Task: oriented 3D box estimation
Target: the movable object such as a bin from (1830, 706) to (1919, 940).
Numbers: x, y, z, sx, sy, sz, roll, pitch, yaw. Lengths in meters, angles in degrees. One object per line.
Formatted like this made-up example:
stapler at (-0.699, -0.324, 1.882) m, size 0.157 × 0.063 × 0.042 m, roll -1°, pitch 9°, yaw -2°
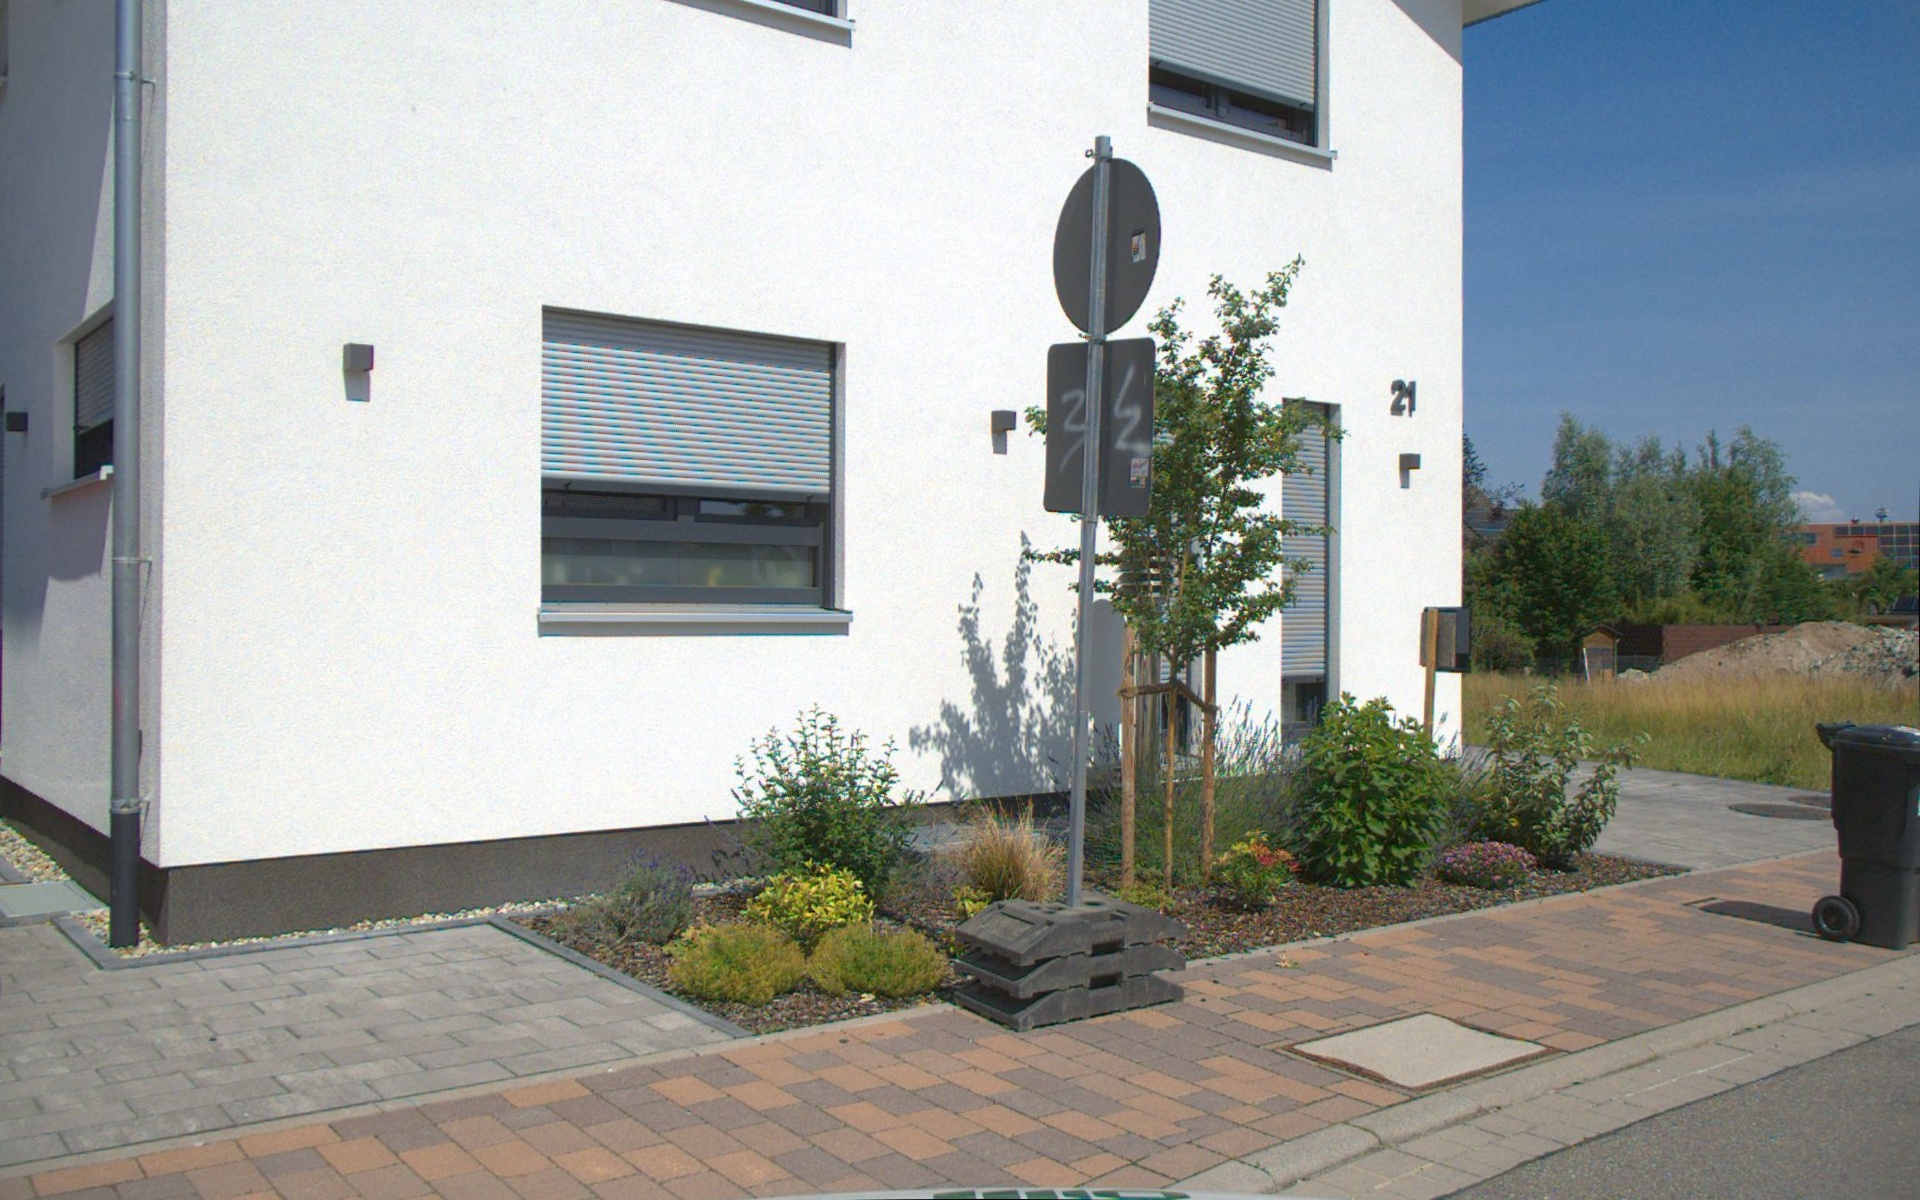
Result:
movable object such as a bin at (4.234, 0.970, 7.244) m, size 0.496 × 0.965 × 0.615 m, roll 2°, pitch -1°, yaw -42°

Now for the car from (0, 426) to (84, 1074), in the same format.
car at (-4.875, 0.456, 6.209) m, size 1.920 × 1.908 × 4.684 m, roll 1°, pitch -1°, yaw -39°
